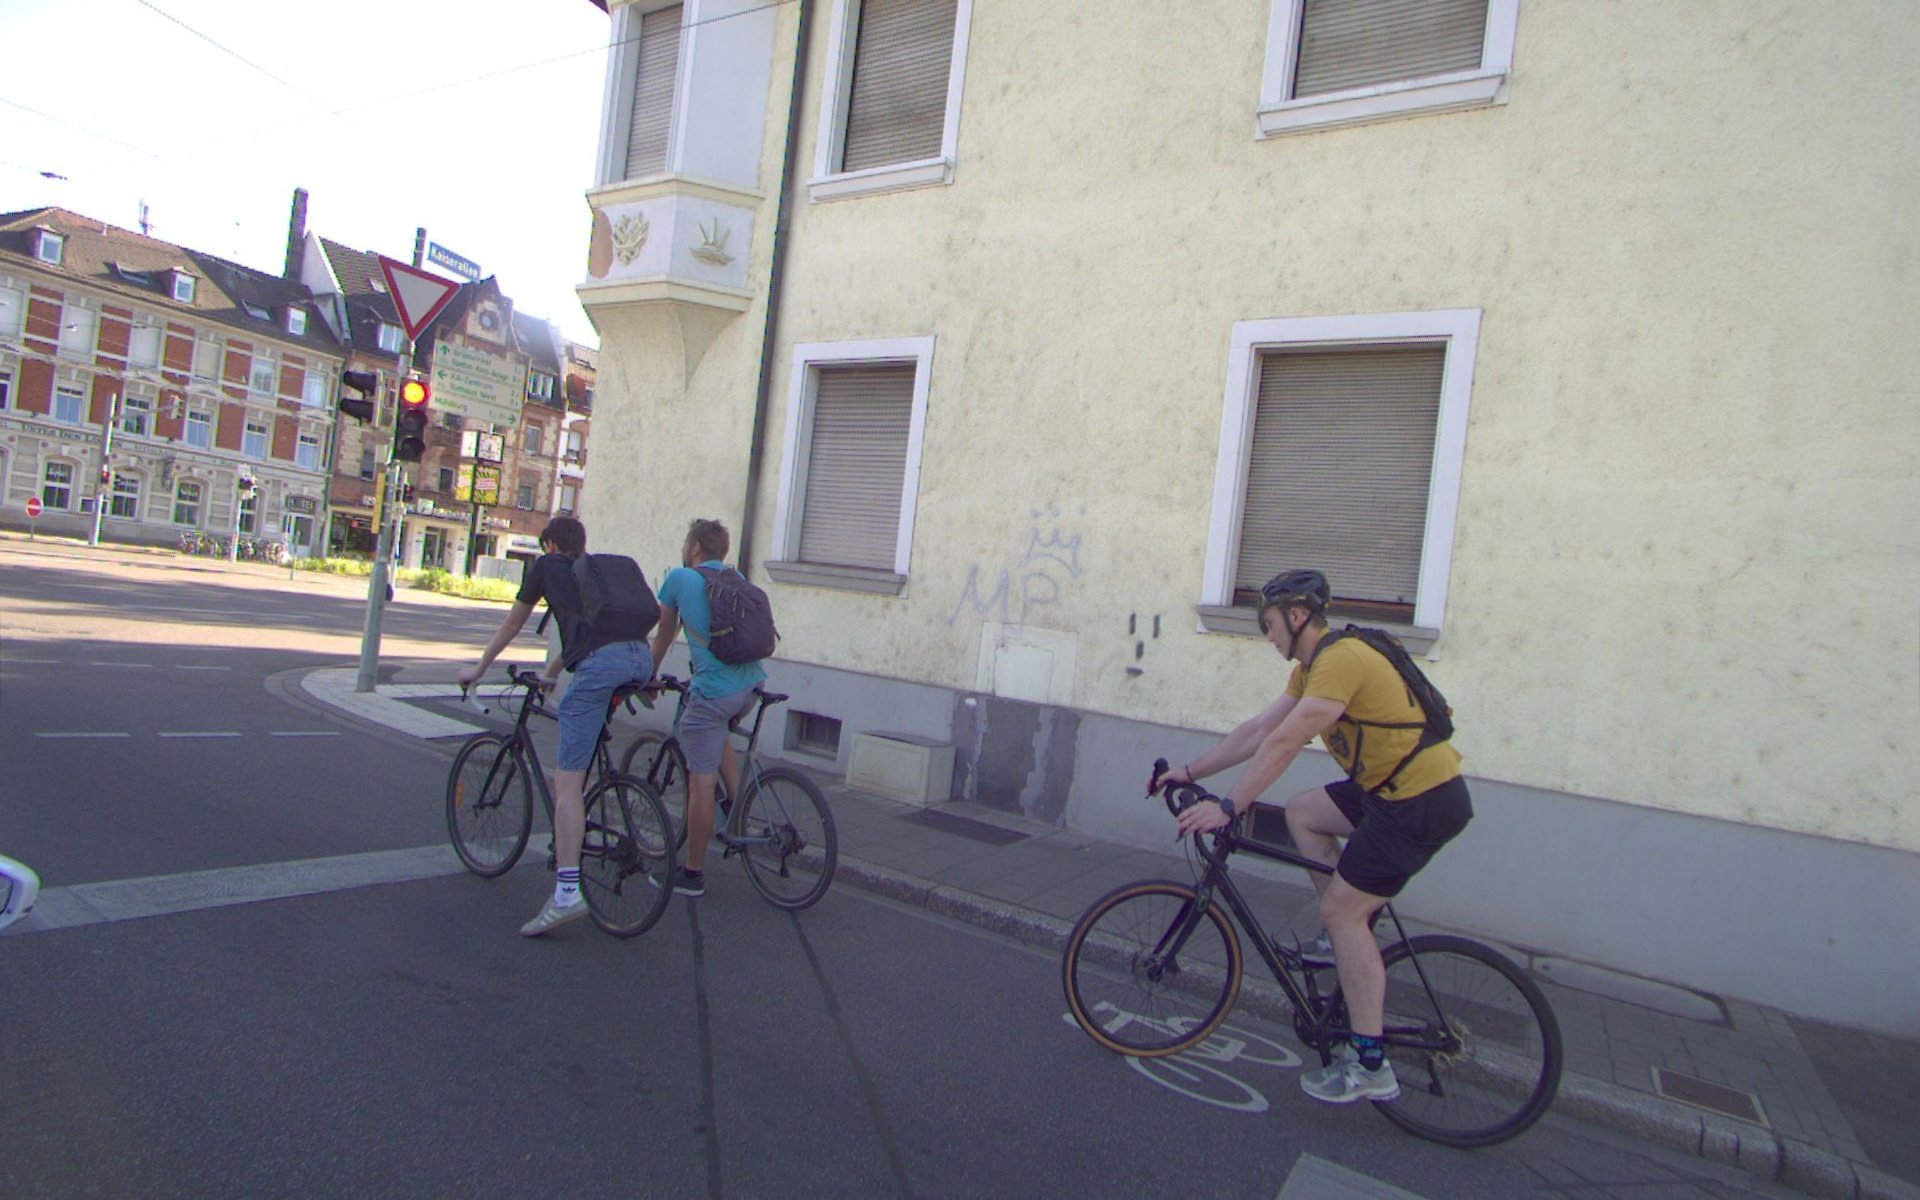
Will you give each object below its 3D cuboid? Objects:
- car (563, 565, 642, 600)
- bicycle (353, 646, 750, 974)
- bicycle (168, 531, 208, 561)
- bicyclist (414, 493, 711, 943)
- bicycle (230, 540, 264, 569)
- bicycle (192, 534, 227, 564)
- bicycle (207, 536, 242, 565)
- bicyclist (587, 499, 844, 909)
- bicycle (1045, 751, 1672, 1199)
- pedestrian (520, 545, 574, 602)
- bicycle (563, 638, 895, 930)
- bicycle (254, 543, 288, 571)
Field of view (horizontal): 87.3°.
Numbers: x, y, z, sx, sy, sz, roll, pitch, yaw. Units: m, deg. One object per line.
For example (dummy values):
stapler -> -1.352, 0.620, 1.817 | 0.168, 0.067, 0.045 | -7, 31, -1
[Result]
car -> -23.175, -1.126, 65.335 | 2.116, 1.660, 4.340 | 7, -1, 31
bicycle -> -1.924, 0.847, 4.606 | 1.897, 1.023, 0.645 | 7, 0, 34
bicycle -> -35.066, -2.449, 45.694 | 2.140, 1.157, 0.806 | 7, 0, 37
bicyclist -> -1.813, 0.465, 4.560 | 1.083, 1.775, 0.562 | 7, 0, 34
bicycle -> -33.683, -2.164, 47.526 | 2.140, 1.157, 0.618 | 7, 0, 37
bicycle -> -34.551, -2.359, 46.297 | 2.140, 1.157, 0.618 | 7, 0, 37
bicycle -> -34.216, -2.311, 46.774 | 2.140, 1.157, 0.618 | 7, 0, 37
bicyclist -> -1.280, 0.492, 5.261 | 0.961, 1.917, 0.602 | 6, -1, 34
bicycle -> 1.282, 1.237, 3.476 | 1.780, 1.101, 0.611 | 7, 0, 32
pedestrian -> -16.572, -1.043, 40.392 | 1.285, 2.068, 1.321 | 7, 0, 31
bicycle -> -1.263, 0.878, 5.296 | 1.784, 1.130, 0.519 | 7, 0, 34
bicycle -> -33.118, -2.071, 48.330 | 2.102, 1.150, 0.609 | 7, 0, 37
